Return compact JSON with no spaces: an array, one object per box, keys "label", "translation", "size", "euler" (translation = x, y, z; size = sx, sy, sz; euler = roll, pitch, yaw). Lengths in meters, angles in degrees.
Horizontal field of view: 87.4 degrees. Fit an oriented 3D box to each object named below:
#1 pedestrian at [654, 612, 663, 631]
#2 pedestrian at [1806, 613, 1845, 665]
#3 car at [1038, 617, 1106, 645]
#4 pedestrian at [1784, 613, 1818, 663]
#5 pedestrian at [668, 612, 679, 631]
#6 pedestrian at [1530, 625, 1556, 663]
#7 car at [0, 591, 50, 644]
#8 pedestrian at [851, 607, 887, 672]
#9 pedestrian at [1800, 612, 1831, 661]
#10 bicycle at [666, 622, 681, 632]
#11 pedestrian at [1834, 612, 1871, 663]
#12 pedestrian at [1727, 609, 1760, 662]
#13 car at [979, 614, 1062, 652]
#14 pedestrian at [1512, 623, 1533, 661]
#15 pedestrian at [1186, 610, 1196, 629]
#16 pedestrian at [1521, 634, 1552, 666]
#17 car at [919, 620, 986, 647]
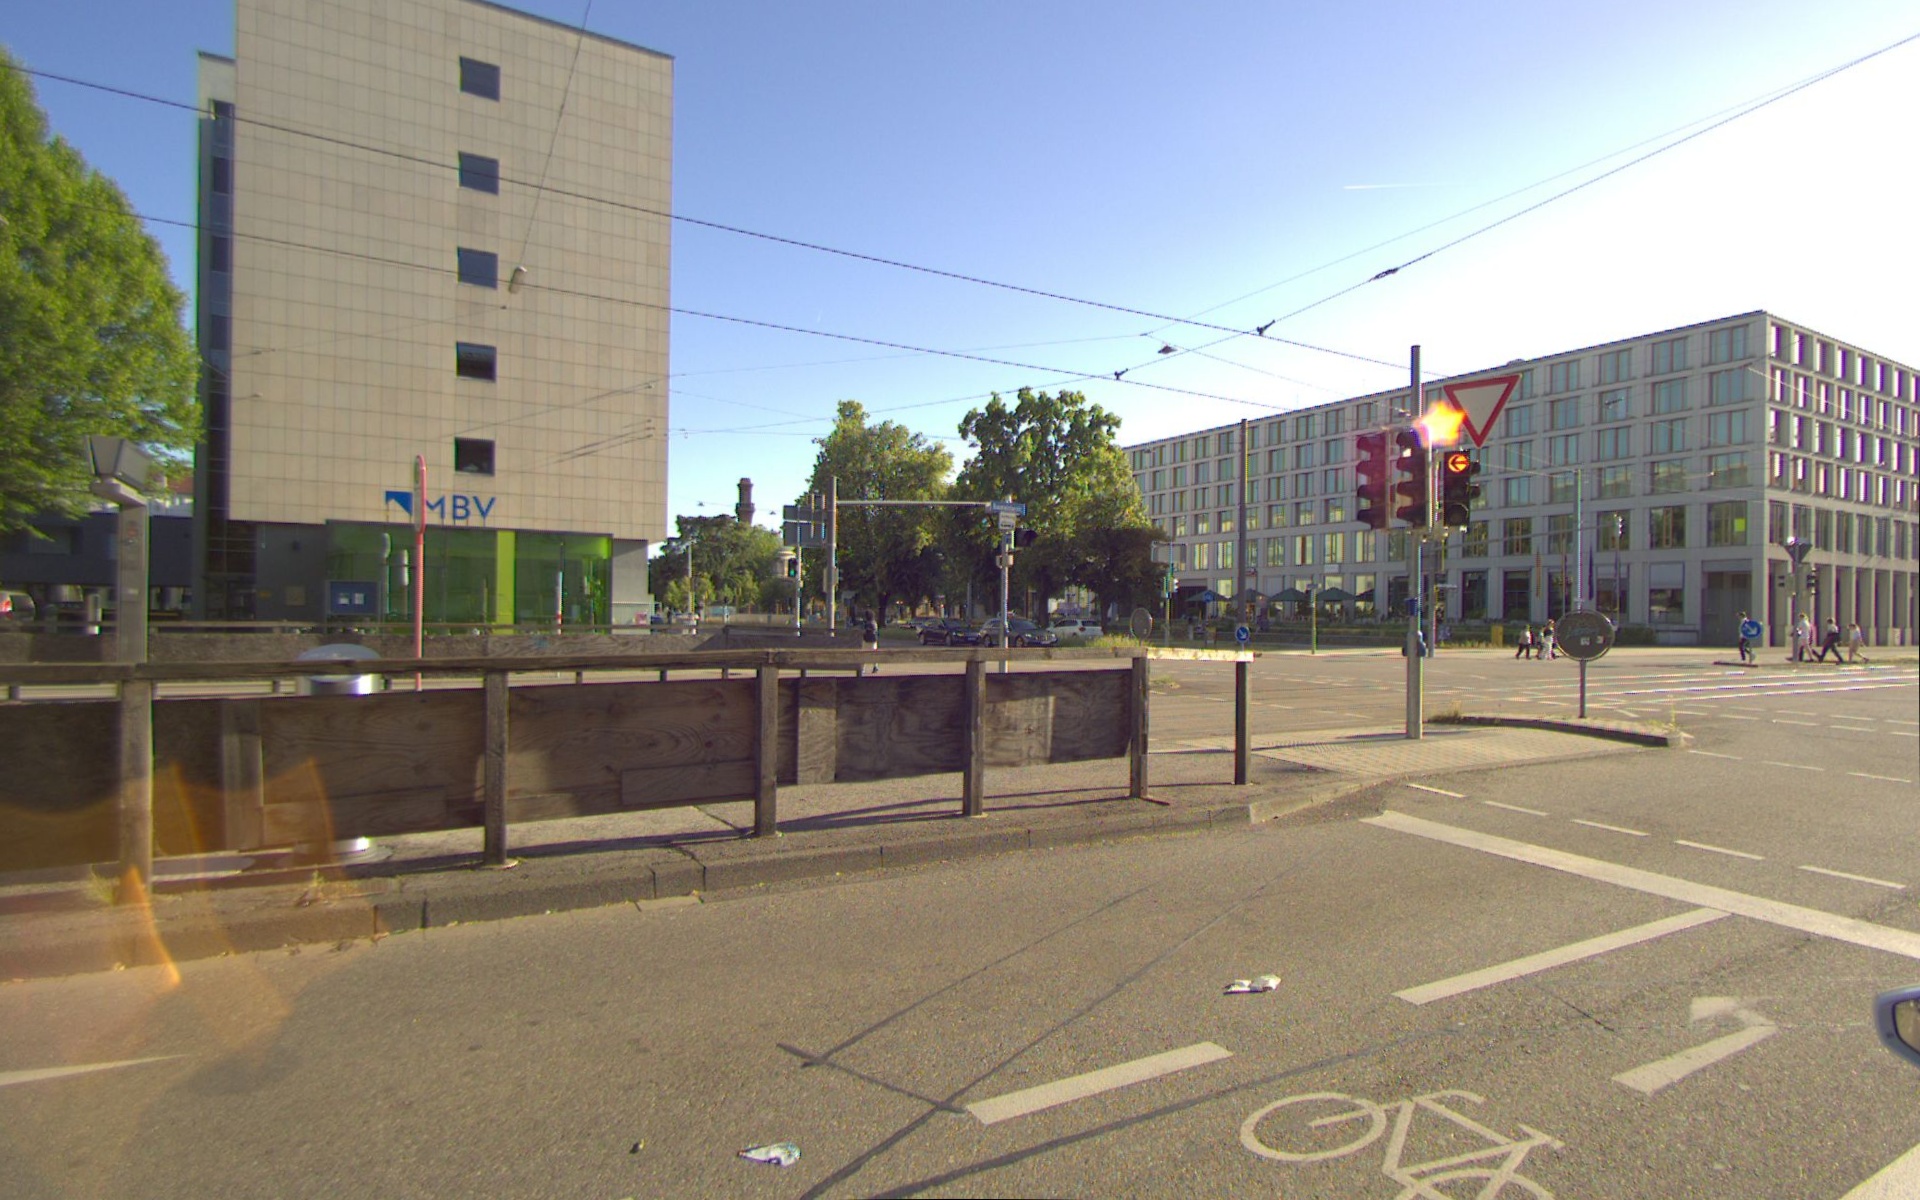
[{"label":"pedestrian","translation":[-28.071,1.979,93.551],"size":[0.666,1.739,0.754],"euler":[1,-1,-32]},{"label":"pedestrian","translation":[31.151,1.399,36.161],"size":[0.654,1.827,0.868],"euler":[1,-1,-24]},{"label":"car","translation":[6.158,1.708,55.468],"size":[1.614,1.452,4.021],"euler":[3,-2,-31]},{"label":"pedestrian","translation":[31.223,1.407,37.299],"size":[0.706,1.827,0.737],"euler":[1,-1,-24]},{"label":"pedestrian","translation":[-26.960,2.012,94.369],"size":[0.818,1.829,0.754],"euler":[1,-1,-31]},{"label":"pedestrian","translation":[25.640,1.931,44.162],"size":[0.615,1.666,0.787],"euler":[1,-1,-34]},{"label":"car","translation":[-27.720,0.452,27.787],"size":[3.371,1.431,1.562],"euler":[2,0,-20]},{"label":"pedestrian","translation":[-2.464,1.059,27.076],"size":[0.814,1.739,0.757],"euler":[1,-1,-18]},{"label":"pedestrian","translation":[32.062,1.359,37.666],"size":[0.525,1.827,0.737],"euler":[1,-1,-24]},{"label":"bicycle","translation":[-26.942,2.523,94.328],"size":[0.818,0.973,2.132],"euler":[1,-1,-31]},{"label":"pedestrian","translation":[32.186,1.336,36.235],"size":[0.525,1.827,0.867],"euler":[1,-1,-24]},{"label":"pedestrian","translation":[29.487,1.326,37.798],"size":[0.628,1.943,0.800],"euler":[1,-1,-24]},{"label":"car","translation":[2.827,1.537,47.841],"size":[1.830,1.602,4.494],"euler":[1,1,-29]},{"label":"pedestrian","translation":[25.637,1.907,45.783],"size":[0.609,1.666,0.696],"euler":[1,-1,1]},{"label":"pedestrian","translation":[20.499,1.737,89.128],"size":[0.556,1.691,0.537],"euler":[2,0,-33]},{"label":"pedestrian","translation":[25.195,2.176,43.913],"size":[0.760,1.335,0.986],"euler":[1,-1,-39]},{"label":"car","translation":[-0.440,1.767,53.394],"size":[1.755,1.311,4.209],"euler":[1,-1,-30]}]
